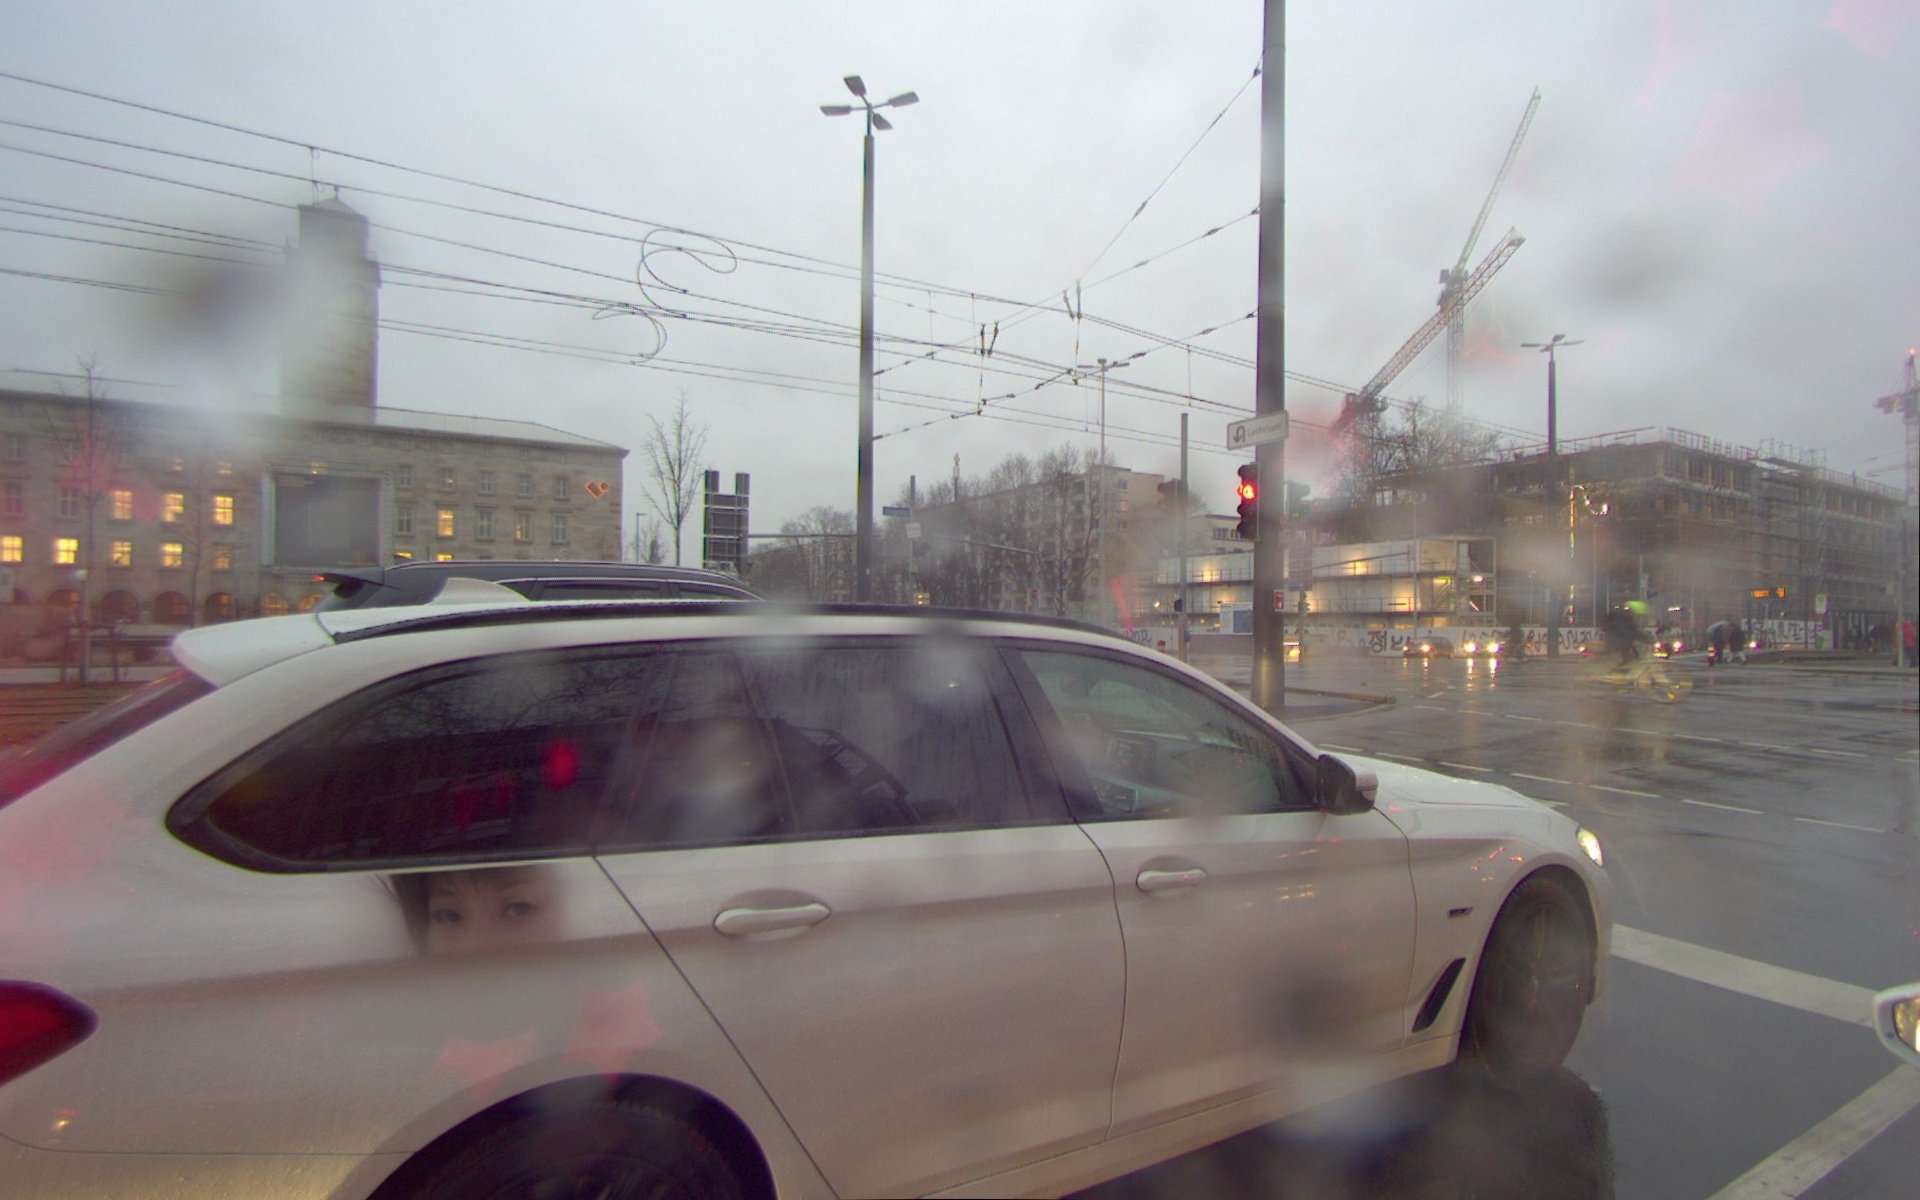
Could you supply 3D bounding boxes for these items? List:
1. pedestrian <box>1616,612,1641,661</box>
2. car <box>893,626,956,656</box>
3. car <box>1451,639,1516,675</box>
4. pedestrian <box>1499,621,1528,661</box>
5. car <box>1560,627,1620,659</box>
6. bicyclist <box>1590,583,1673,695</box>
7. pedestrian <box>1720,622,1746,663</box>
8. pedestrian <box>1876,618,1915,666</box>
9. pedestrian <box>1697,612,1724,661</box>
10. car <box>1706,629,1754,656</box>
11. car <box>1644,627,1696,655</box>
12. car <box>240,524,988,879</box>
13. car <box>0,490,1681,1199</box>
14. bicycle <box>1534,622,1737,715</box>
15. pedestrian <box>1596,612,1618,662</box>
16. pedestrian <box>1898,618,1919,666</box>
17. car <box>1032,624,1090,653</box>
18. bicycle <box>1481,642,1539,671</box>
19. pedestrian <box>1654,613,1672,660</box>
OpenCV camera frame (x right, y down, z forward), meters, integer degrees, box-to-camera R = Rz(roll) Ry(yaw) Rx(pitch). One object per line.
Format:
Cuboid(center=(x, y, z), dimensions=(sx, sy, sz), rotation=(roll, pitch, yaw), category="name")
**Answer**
Cuboid(center=(28.288, 1.545, 42.487), dimensions=(0.762, 2.040, 0.613), rotation=(0, -1, 22), category="pedestrian")
Cuboid(center=(-2.134, 2.416, 59.332), dimensions=(1.978, 1.706, 3.965), rotation=(1, -2, -33), category="car")
Cuboid(center=(31.057, 3.361, 59.571), dimensions=(3.958, 2.040, 1.745), rotation=(1, -2, -34), category="car")
Cuboid(center=(22.404, 1.660, 40.665), dimensions=(0.529, 1.590, 0.812), rotation=(6, -4, -25), category="pedestrian")
Cuboid(center=(42.013, 2.856, 66.933), dimensions=(3.959, 2.040, 1.981), rotation=(2, -2, -34), category="car")
Cuboid(center=(11.608, 0.658, 17.379), dimensions=(0.715, 1.863, 0.986), rotation=(2, 0, -39), category="bicyclist")
Cuboid(center=(31.465, 1.734, 40.891), dimensions=(0.675, 1.640, 0.701), rotation=(2, -2, -39), category="pedestrian")
Cuboid(center=(33.655, 1.509, 36.133), dimensions=(0.608, 1.701, 0.832), rotation=(1, -1, -9), category="pedestrian")
Cuboid(center=(31.611, 1.547, 42.318), dimensions=(0.741, 2.040, 0.785), rotation=(2, -2, -40), category="pedestrian")
Cuboid(center=(62.022, 3.410, 80.883), dimensions=(3.961, 2.040, 1.980), rotation=(2, -2, -36), category="car")
Cuboid(center=(52.440, 3.026, 74.152), dimensions=(3.961, 2.040, 1.980), rotation=(2, -2, -36), category="car")
Cuboid(center=(-2.145, 0.575, 7.003), dimensions=(4.564, 1.766, 1.692), rotation=(2, -2, -34), category="car")
Cuboid(center=(-0.020, 0.701, 3.060), dimensions=(4.868, 1.540, 1.900), rotation=(2, -2, -32), category="car")
Cuboid(center=(11.616, 1.130, 17.396), dimensions=(0.714, 1.380, 2.808), rotation=(2, 0, -38), category="bicycle")
Cuboid(center=(27.429, 1.554, 42.599), dimensions=(0.674, 2.115, 0.613), rotation=(0, -1, 20), category="pedestrian")
Cuboid(center=(34.343, 1.516, 35.981), dimensions=(0.664, 1.710, 0.845), rotation=(1, -1, -7), category="pedestrian")
Cuboid(center=(6.339, 2.416, 63.607), dimensions=(1.684, 1.785, 4.289), rotation=(1, -2, -26), category="car")
Cuboid(center=(22.356, 2.284, 40.843), dimensions=(0.534, 1.004, 2.122), rotation=(6, -3, -25), category="bicycle")
Cuboid(center=(30.566, 1.575, 43.691), dimensions=(0.635, 2.040, 0.503), rotation=(1, -1, -40), category="pedestrian")
